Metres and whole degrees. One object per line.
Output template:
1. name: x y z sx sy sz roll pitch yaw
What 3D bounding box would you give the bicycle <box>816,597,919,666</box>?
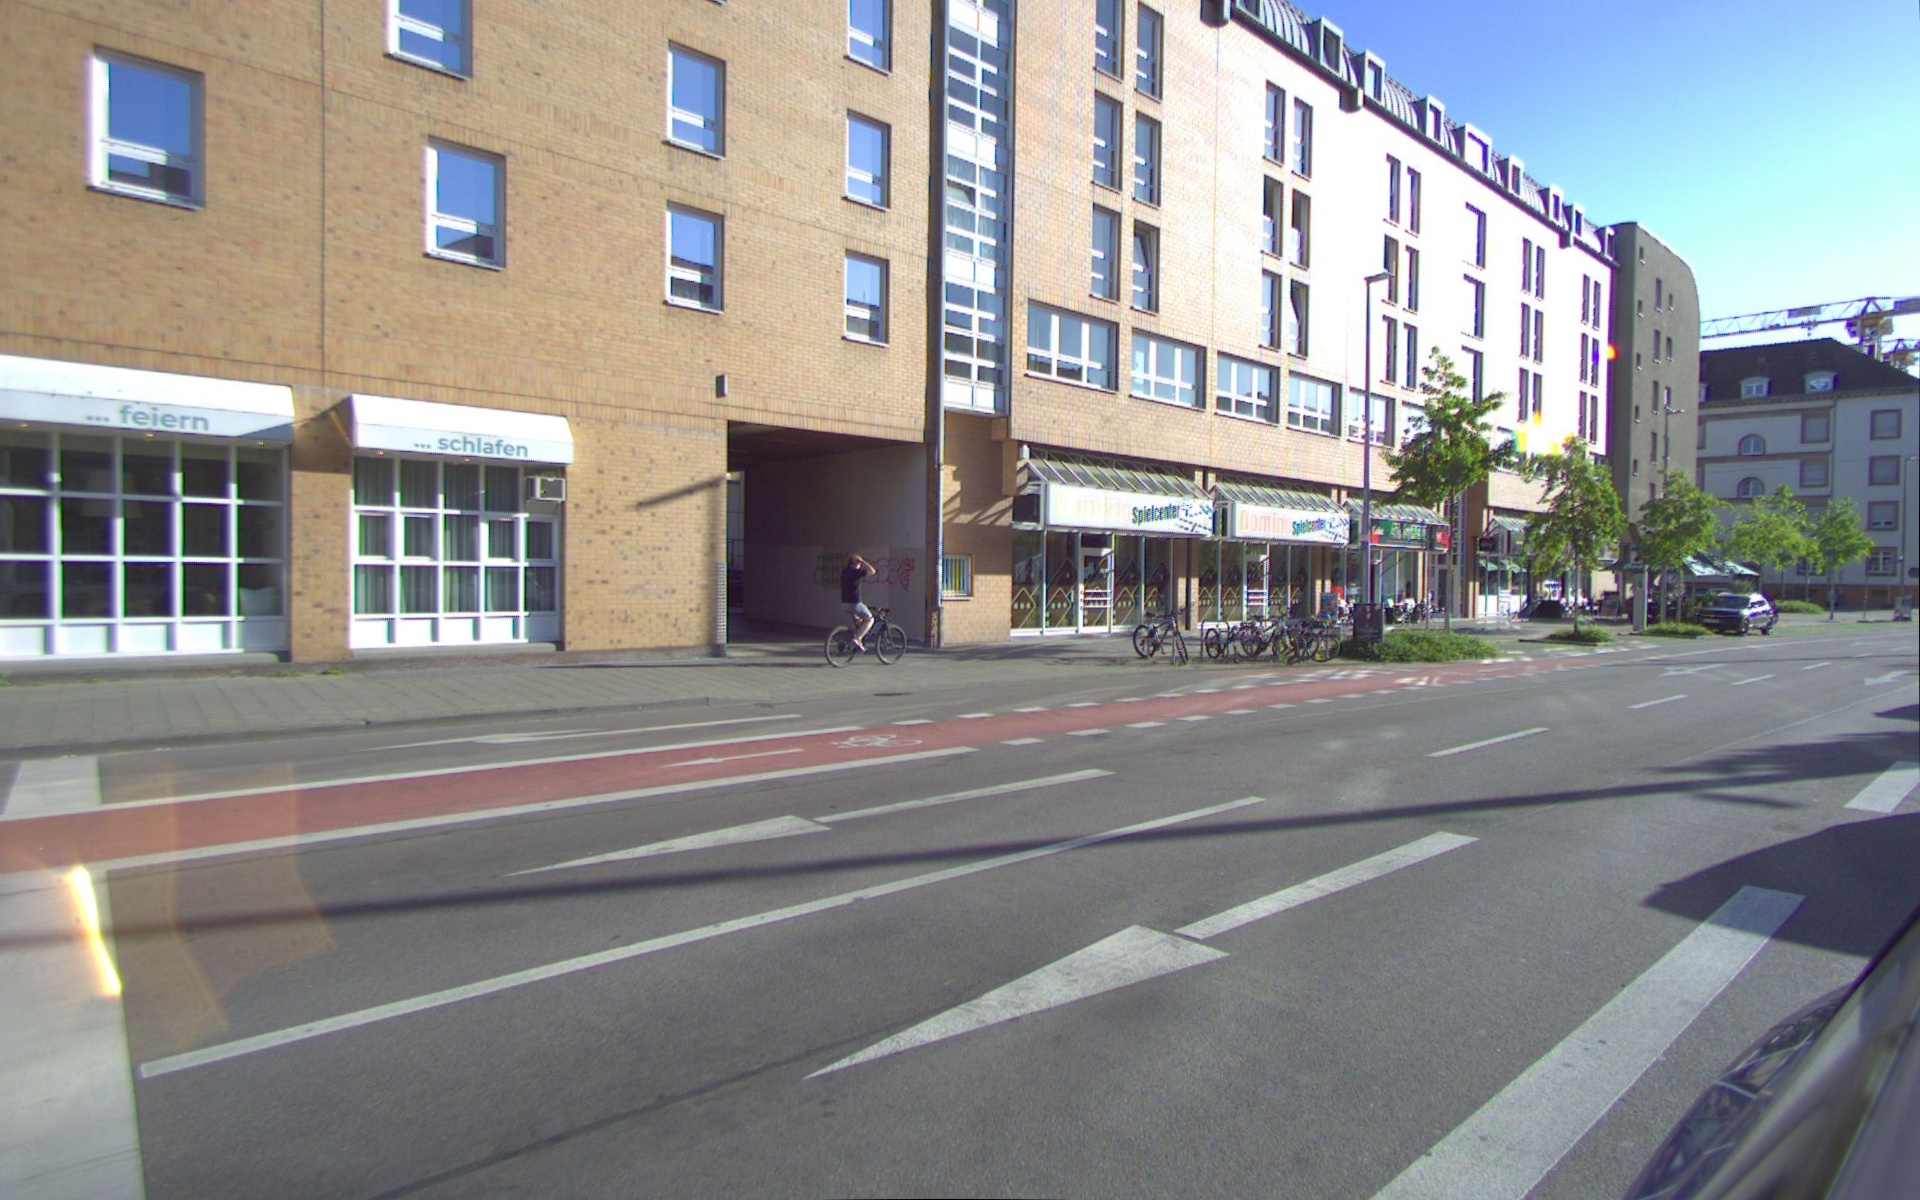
1. bicycle: -1.613 0.531 17.845 0.601 1.062 1.853 7 6 41

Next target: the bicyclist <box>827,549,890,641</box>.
1. bicyclist: -1.769 -0.094 17.618 0.578 1.533 0.837 7 4 41

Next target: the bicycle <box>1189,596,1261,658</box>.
1. bicycle: 5.552 0.540 21.284 0.541 1.162 1.780 -1 3 -20

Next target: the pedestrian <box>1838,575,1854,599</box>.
1. pedestrian: 62.169 -0.915 71.012 0.801 1.687 0.877 2 1 43

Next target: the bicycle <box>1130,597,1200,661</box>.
1. bicycle: 4.187 0.561 20.809 0.541 1.162 1.780 -1 3 -20

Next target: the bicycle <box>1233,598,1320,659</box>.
1. bicycle: 6.778 0.587 21.761 0.543 1.155 1.775 -2 4 -38

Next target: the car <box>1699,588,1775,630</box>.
1. car: 30.725 0.327 39.978 3.628 1.549 1.654 -1 1 -40

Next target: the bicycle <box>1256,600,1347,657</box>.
1. bicycle: 7.507 0.599 22.316 0.724 1.084 1.775 -2 4 -38
